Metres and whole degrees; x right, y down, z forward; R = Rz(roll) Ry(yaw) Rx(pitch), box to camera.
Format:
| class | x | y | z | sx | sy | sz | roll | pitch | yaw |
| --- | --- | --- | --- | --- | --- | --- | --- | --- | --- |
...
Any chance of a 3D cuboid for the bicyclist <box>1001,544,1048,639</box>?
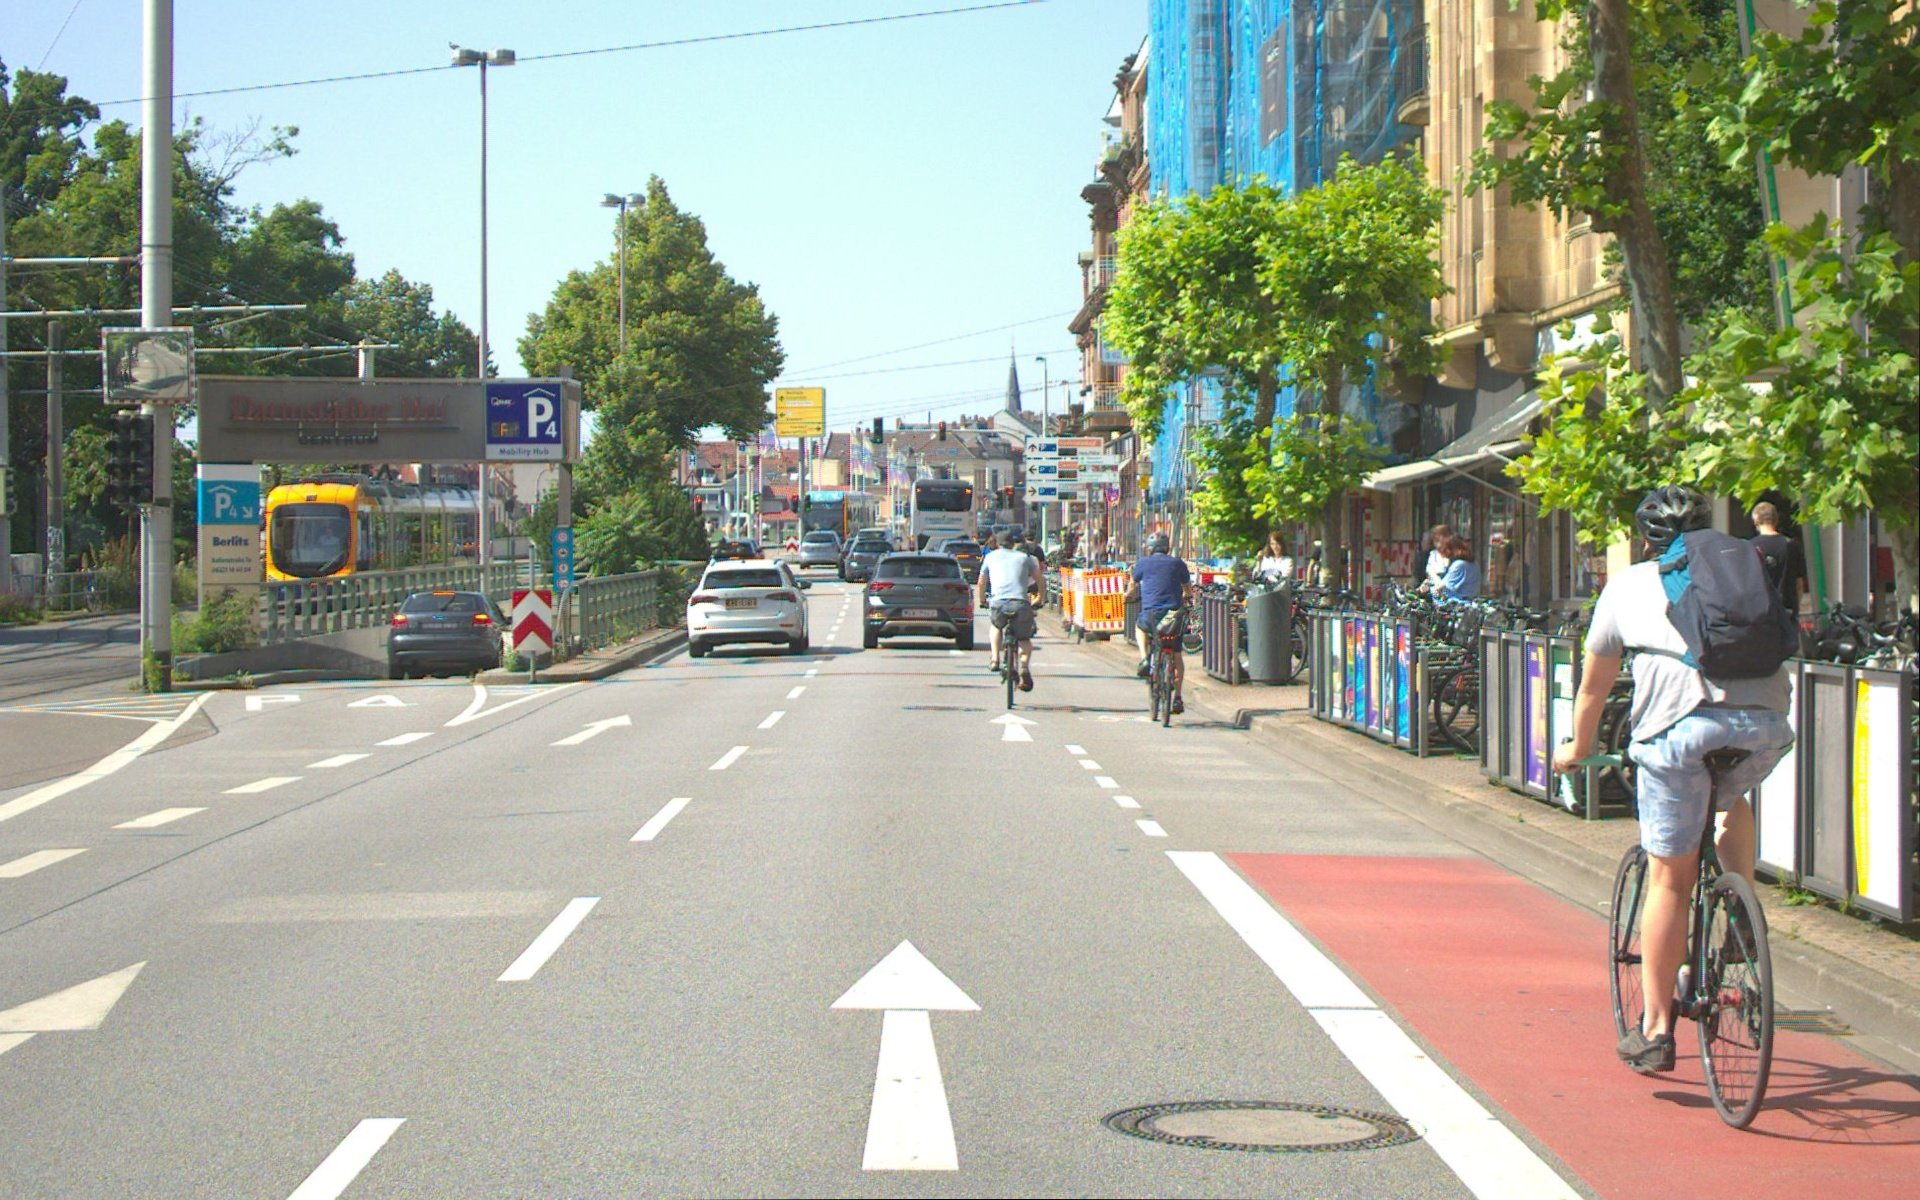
| class | x | y | z | sx | sy | sz | roll | pitch | yaw |
| --- | --- | --- | --- | --- | --- | --- | --- | --- | --- |
| bicyclist | 1.088 | -0.143 | 58.208 | 0.688 | 1.571 | 1.049 | 2 | 1 | -2 |

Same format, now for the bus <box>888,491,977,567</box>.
| class | x | y | z | sx | sy | sz | roll | pitch | yaw |
| --- | --- | --- | --- | --- | --- | --- | --- | --- | --- |
| bus | -1.119 | -2.698 | 132.235 | 2.969 | 2.767 | 8.642 | 2 | 1 | -3 |

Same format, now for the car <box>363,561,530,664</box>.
| class | x | y | z | sx | sy | sz | roll | pitch | yaw |
| --- | --- | --- | --- | --- | --- | --- | --- | --- | --- |
| car | -8.022 | 0.171 | 54.051 | 1.993 | 1.503 | 4.000 | 2 | 1 | 0 |

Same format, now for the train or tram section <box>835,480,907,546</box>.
| class | x | y | z | sx | sy | sz | roll | pitch | yaw |
| --- | --- | --- | --- | --- | --- | --- | --- | --- | --- |
| train or tram section | -5.113 | -5.024 | 199.729 | 2.823 | 3.569 | 8.223 | 2 | 1 | 8 |

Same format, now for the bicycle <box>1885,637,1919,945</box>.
| class | x | y | z | sx | sy | sz | roll | pitch | yaw |
| --- | --- | --- | --- | --- | --- | --- | --- | --- | --- |
| bicycle | 4.461 | 0.720 | 13.067 | 1.752 | 1.143 | 0.483 | 0 | 1 | -3 |

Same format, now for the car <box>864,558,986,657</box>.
| class | x | y | z | sx | sy | sz | roll | pitch | yaw |
| --- | --- | --- | --- | --- | --- | --- | --- | --- | --- |
| car | -0.552 | 0.098 | 55.903 | 1.873 | 1.487 | 4.000 | 2 | 1 | 0 |

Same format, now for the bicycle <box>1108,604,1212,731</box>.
| class | x | y | z | sx | sy | sz | roll | pitch | yaw |
| --- | --- | --- | --- | --- | --- | --- | --- | --- | --- |
| bicycle | 1.819 | 0.602 | 31.583 | 0.734 | 1.089 | 1.911 | 2 | 1 | -2 |

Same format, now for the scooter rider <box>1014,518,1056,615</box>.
| class | x | y | z | sx | sy | sz | roll | pitch | yaw |
| --- | --- | --- | --- | --- | --- | --- | --- | --- | --- |
| scooter rider | 1.349 | -0.602 | 61.739 | 0.688 | 1.723 | 0.778 | 2 | 0 | 0 |

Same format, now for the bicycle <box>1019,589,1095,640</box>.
| class | x | y | z | sx | sy | sz | roll | pitch | yaw |
| --- | --- | --- | --- | --- | --- | --- | --- | --- | --- |
| bicycle | 2.320 | 0.347 | 82.510 | 1.771 | 1.174 | 0.608 | 1 | 0 | 0 |

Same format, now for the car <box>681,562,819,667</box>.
| class | x | y | z | sx | sy | sz | roll | pitch | yaw |
| --- | --- | --- | --- | --- | --- | --- | --- | --- | --- |
| car | -3.225 | 0.196 | 53.448 | 1.858 | 1.502 | 4.000 | 2 | 1 | 0 |

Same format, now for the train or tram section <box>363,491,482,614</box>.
| class | x | y | z | sx | sy | sz | roll | pitch | yaw |
| --- | --- | --- | --- | --- | --- | --- | --- | --- | --- |
| train or tram section | -16.372 | -1.443 | 105.083 | 2.613 | 3.569 | 6.899 | 2 | 1 | -1 |

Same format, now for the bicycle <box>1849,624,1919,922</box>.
| class | x | y | z | sx | sy | sz | roll | pitch | yaw |
| --- | --- | --- | --- | --- | --- | --- | --- | --- | --- |
| bicycle | 4.450 | 0.672 | 13.568 | 1.752 | 1.143 | 0.483 | 0 | 1 | -3 |

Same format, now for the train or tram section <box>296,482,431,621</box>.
| class | x | y | z | sx | sy | sz | roll | pitch | yaw |
| --- | --- | --- | --- | --- | --- | --- | --- | --- | --- |
| train or tram section | -16.109 | -1.300 | 93.220 | 2.613 | 3.569 | 6.104 | 2 | 1 | -1 |

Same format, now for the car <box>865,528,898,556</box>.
| class | x | y | z | sx | sy | sz | roll | pitch | yaw |
| --- | --- | --- | --- | --- | --- | --- | --- | --- | --- |
| car | -3.694 | -2.717 | 161.401 | 1.451 | 1.296 | 3.342 | 2 | 1 | -2 |

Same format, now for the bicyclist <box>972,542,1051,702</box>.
| class | x | y | z | sx | sy | sz | roll | pitch | yaw |
| --- | --- | --- | --- | --- | --- | --- | --- | --- | --- |
| bicyclist | 0.508 | 0.213 | 34.614 | 0.688 | 1.571 | 1.049 | 2 | 1 | -2 |

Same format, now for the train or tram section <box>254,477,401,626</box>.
| class | x | y | z | sx | sy | sz | roll | pitch | yaw |
| --- | --- | --- | --- | --- | --- | --- | --- | --- | --- |
| train or tram section | -15.970 | -1.227 | 87.141 | 2.613 | 3.569 | 6.104 | 2 | 1 | -1 |

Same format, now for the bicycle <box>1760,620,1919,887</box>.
| class | x | y | z | sx | sy | sz | roll | pitch | yaw |
| --- | --- | --- | --- | --- | --- | --- | --- | --- | --- |
| bicycle | 4.448 | 0.665 | 15.080 | 1.752 | 1.143 | 0.483 | 0 | 1 | -3 |

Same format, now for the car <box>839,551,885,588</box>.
| class | x | y | z | sx | sy | sz | roll | pitch | yaw |
| --- | --- | --- | --- | --- | --- | --- | --- | --- | --- |
| car | -3.578 | -1.114 | 125.031 | 1.451 | 1.296 | 3.342 | 2 | 1 | -4 |

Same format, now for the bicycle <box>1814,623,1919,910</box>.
| class | x | y | z | sx | sy | sz | roll | pitch | yaw |
| --- | --- | --- | --- | --- | --- | --- | --- | --- | --- |
| bicycle | 4.433 | 0.672 | 14.068 | 1.752 | 1.143 | 0.483 | 0 | 1 | -3 |

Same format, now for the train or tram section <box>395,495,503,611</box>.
| class | x | y | z | sx | sy | sz | roll | pitch | yaw |
| --- | --- | --- | --- | --- | --- | --- | --- | --- | --- |
| train or tram section | -16.530 | -1.520 | 111.478 | 2.613 | 3.569 | 6.018 | 2 | 1 | -1 |

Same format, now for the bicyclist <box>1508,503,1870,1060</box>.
| class | x | y | z | sx | sy | sz | roll | pitch | yaw |
| --- | --- | --- | --- | --- | --- | --- | --- | --- | --- |
| bicyclist | 2.022 | 0.476 | 9.678 | 0.688 | 1.458 | 1.143 | 2 | 1 | -2 |

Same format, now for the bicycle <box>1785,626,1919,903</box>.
| class | x | y | z | sx | sy | sz | roll | pitch | yaw |
| --- | --- | --- | --- | --- | --- | --- | --- | --- | --- |
| bicycle | 4.436 | 0.691 | 14.571 | 1.752 | 1.143 | 0.483 | 0 | 1 | -3 |

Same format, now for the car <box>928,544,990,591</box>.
| class | x | y | z | sx | sy | sz | roll | pitch | yaw |
| --- | --- | --- | --- | --- | --- | --- | --- | --- | --- |
| car | -0.037 | -1.089 | 114.233 | 1.993 | 1.487 | 4.000 | 2 | 1 | 0 |

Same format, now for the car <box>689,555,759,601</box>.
| class | x | y | z | sx | sy | sz | roll | pitch | yaw |
| --- | --- | --- | --- | --- | --- | --- | --- | --- | --- |
| car | -7.201 | -0.672 | 105.040 | 1.815 | 1.328 | 4.000 | 2 | 1 | 0 |

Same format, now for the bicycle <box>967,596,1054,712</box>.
| class | x | y | z | sx | sy | sz | roll | pitch | yaw |
| --- | --- | --- | --- | --- | --- | --- | --- | --- | --- |
| bicycle | 0.496 | 0.529 | 34.589 | 0.734 | 1.089 | 1.898 | 2 | 1 | -2 |

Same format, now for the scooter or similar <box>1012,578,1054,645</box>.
| class | x | y | z | sx | sy | sz | roll | pitch | yaw |
| --- | --- | --- | --- | --- | --- | --- | --- | --- | --- |
| scooter or similar | 1.308 | 0.194 | 61.709 | 0.688 | 1.163 | 1.464 | 2 | 1 | 0 |

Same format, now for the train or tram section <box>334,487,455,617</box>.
| class | x | y | z | sx | sy | sz | roll | pitch | yaw |
| --- | --- | --- | --- | --- | --- | --- | --- | --- | --- |
| train or tram section | -16.233 | -1.369 | 98.958 | 2.613 | 3.569 | 5.357 | 2 | 1 | -1 |

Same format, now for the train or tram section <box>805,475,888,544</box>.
| class | x | y | z | sx | sy | sz | roll | pitch | yaw |
| --- | --- | --- | --- | --- | --- | --- | --- | --- | --- |
| train or tram section | -6.237 | -4.958 | 190.609 | 2.823 | 3.569 | 10.029 | 2 | 1 | 8 |

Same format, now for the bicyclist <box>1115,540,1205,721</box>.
| class | x | y | z | sx | sy | sz | roll | pitch | yaw |
| --- | --- | --- | --- | --- | --- | --- | --- | --- | --- |
| bicyclist | 1.831 | 0.271 | 31.560 | 0.688 | 1.611 | 0.918 | 2 | 0 | -2 |

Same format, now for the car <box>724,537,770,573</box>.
| class | x | y | z | sx | sy | sz | roll | pitch | yaw |
| --- | --- | --- | --- | --- | --- | --- | --- | --- | --- |
| car | -7.981 | -1.688 | 129.243 | 1.451 | 1.296 | 4.000 | 2 | 1 | 0 |

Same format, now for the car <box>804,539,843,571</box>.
| class | x | y | z | sx | sy | sz | roll | pitch | yaw |
| --- | --- | --- | --- | --- | --- | --- | --- | --- | --- |
| car | -5.708 | -1.891 | 144.125 | 1.451 | 1.296 | 4.000 | 2 | 1 | 0 |

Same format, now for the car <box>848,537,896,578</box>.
| class | x | y | z | sx | sy | sz | roll | pitch | yaw |
| --- | --- | --- | --- | --- | --- | --- | --- | --- | --- |
| car | -2.916 | -1.421 | 113.805 | 1.451 | 1.296 | 3.342 | 2 | 1 | -3 |

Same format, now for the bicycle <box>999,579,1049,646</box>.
| class | x | y | z | sx | sy | sz | roll | pitch | yaw |
| --- | --- | --- | --- | --- | --- | --- | --- | --- | --- |
| bicycle | 1.079 | 0.198 | 58.234 | 0.734 | 1.089 | 1.898 | 2 | 1 | -1 |
